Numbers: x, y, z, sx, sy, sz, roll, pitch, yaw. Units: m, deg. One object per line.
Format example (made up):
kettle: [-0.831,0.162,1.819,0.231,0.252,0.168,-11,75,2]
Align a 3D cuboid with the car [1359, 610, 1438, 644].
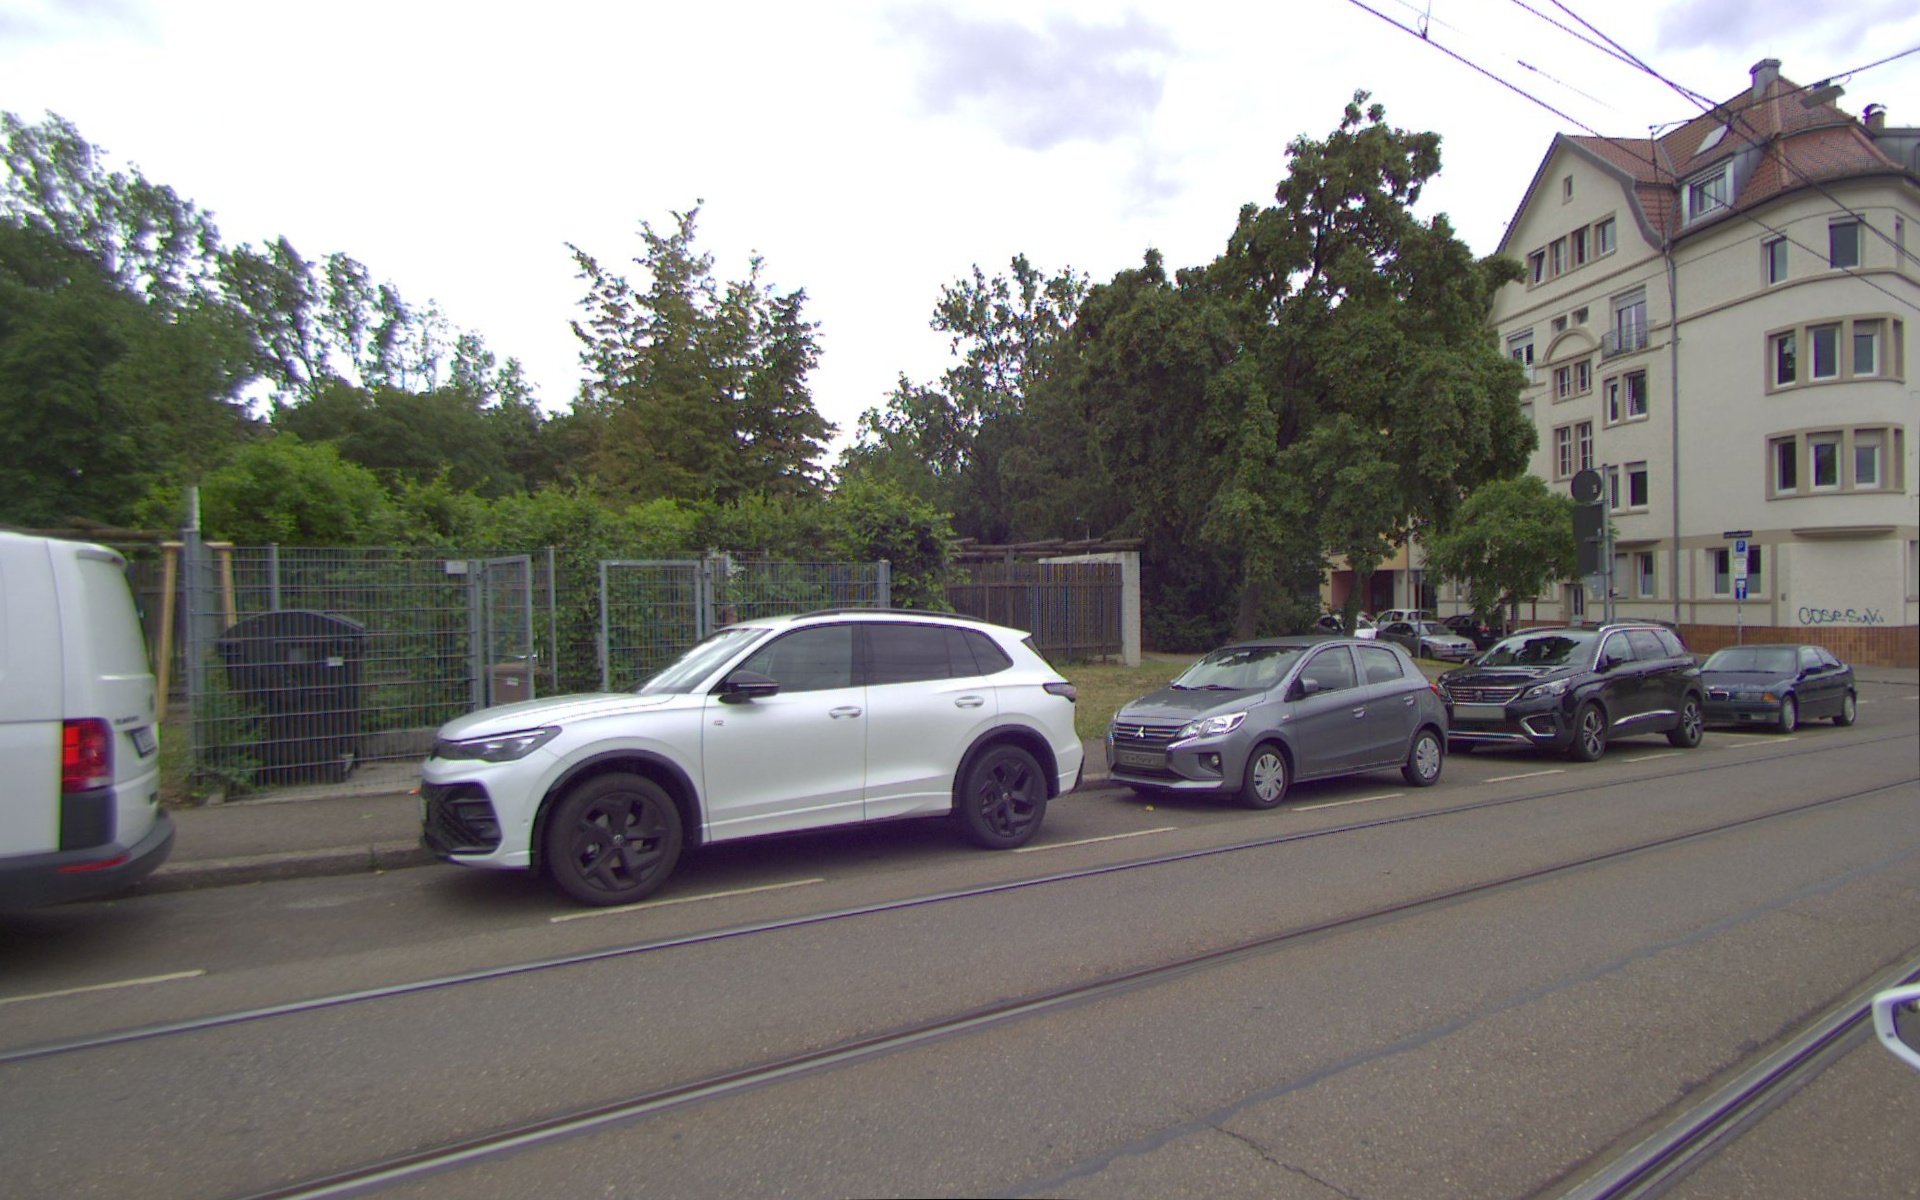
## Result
car: [20.908,1.265,48.051,1.728,1.564,3.996,1,-1,-6]

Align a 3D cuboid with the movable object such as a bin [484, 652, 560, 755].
movable object such as a bin: [-4.501,1.041,10.308,0.599,0.952,0.730,1,1,-32]

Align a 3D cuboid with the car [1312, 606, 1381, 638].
car: [20.217,1.150,52.707,1.728,1.564,3.996,1,-1,-6]

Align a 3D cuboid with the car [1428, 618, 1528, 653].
car: [21.652,1.450,42.151,1.841,1.372,3.996,1,-1,-6]

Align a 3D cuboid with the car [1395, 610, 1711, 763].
car: [7.920,1.068,13.300,4.399,1.708,1.957,3,-2,-34]

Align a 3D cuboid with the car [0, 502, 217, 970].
car: [-5.959,0.511,3.983,4.687,1.938,1.957,3,-2,-34]

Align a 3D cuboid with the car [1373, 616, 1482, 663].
car: [16.722,1.371,36.123,1.727,1.459,3.995,0,1,-6]

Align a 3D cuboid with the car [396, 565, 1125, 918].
car: [-1.203,0.792,7.009,4.586,1.708,1.957,3,-2,-34]

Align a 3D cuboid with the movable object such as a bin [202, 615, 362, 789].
movable object such as a bin: [-5.600,0.806,8.358,1.039,1.315,0.730,1,1,-32]

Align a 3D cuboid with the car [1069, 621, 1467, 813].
car: [3.089,1.023,9.830,3.830,1.528,1.727,3,-2,-34]

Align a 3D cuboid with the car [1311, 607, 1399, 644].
car: [16.332,1.040,41.740,1.727,1.438,3.996,1,-1,-6]

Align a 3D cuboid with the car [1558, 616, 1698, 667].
car: [22.688,1.377,34.302,1.841,1.592,3.996,1,-1,-6]

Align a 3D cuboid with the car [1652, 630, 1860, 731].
car: [13.418,1.301,16.867,4.114,1.497,1.611,3,-2,-35]

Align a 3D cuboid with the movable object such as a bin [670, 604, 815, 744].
movable object such as a bin: [-2.429,0.776,11.130,1.189,1.391,1.269,1,1,-32]
